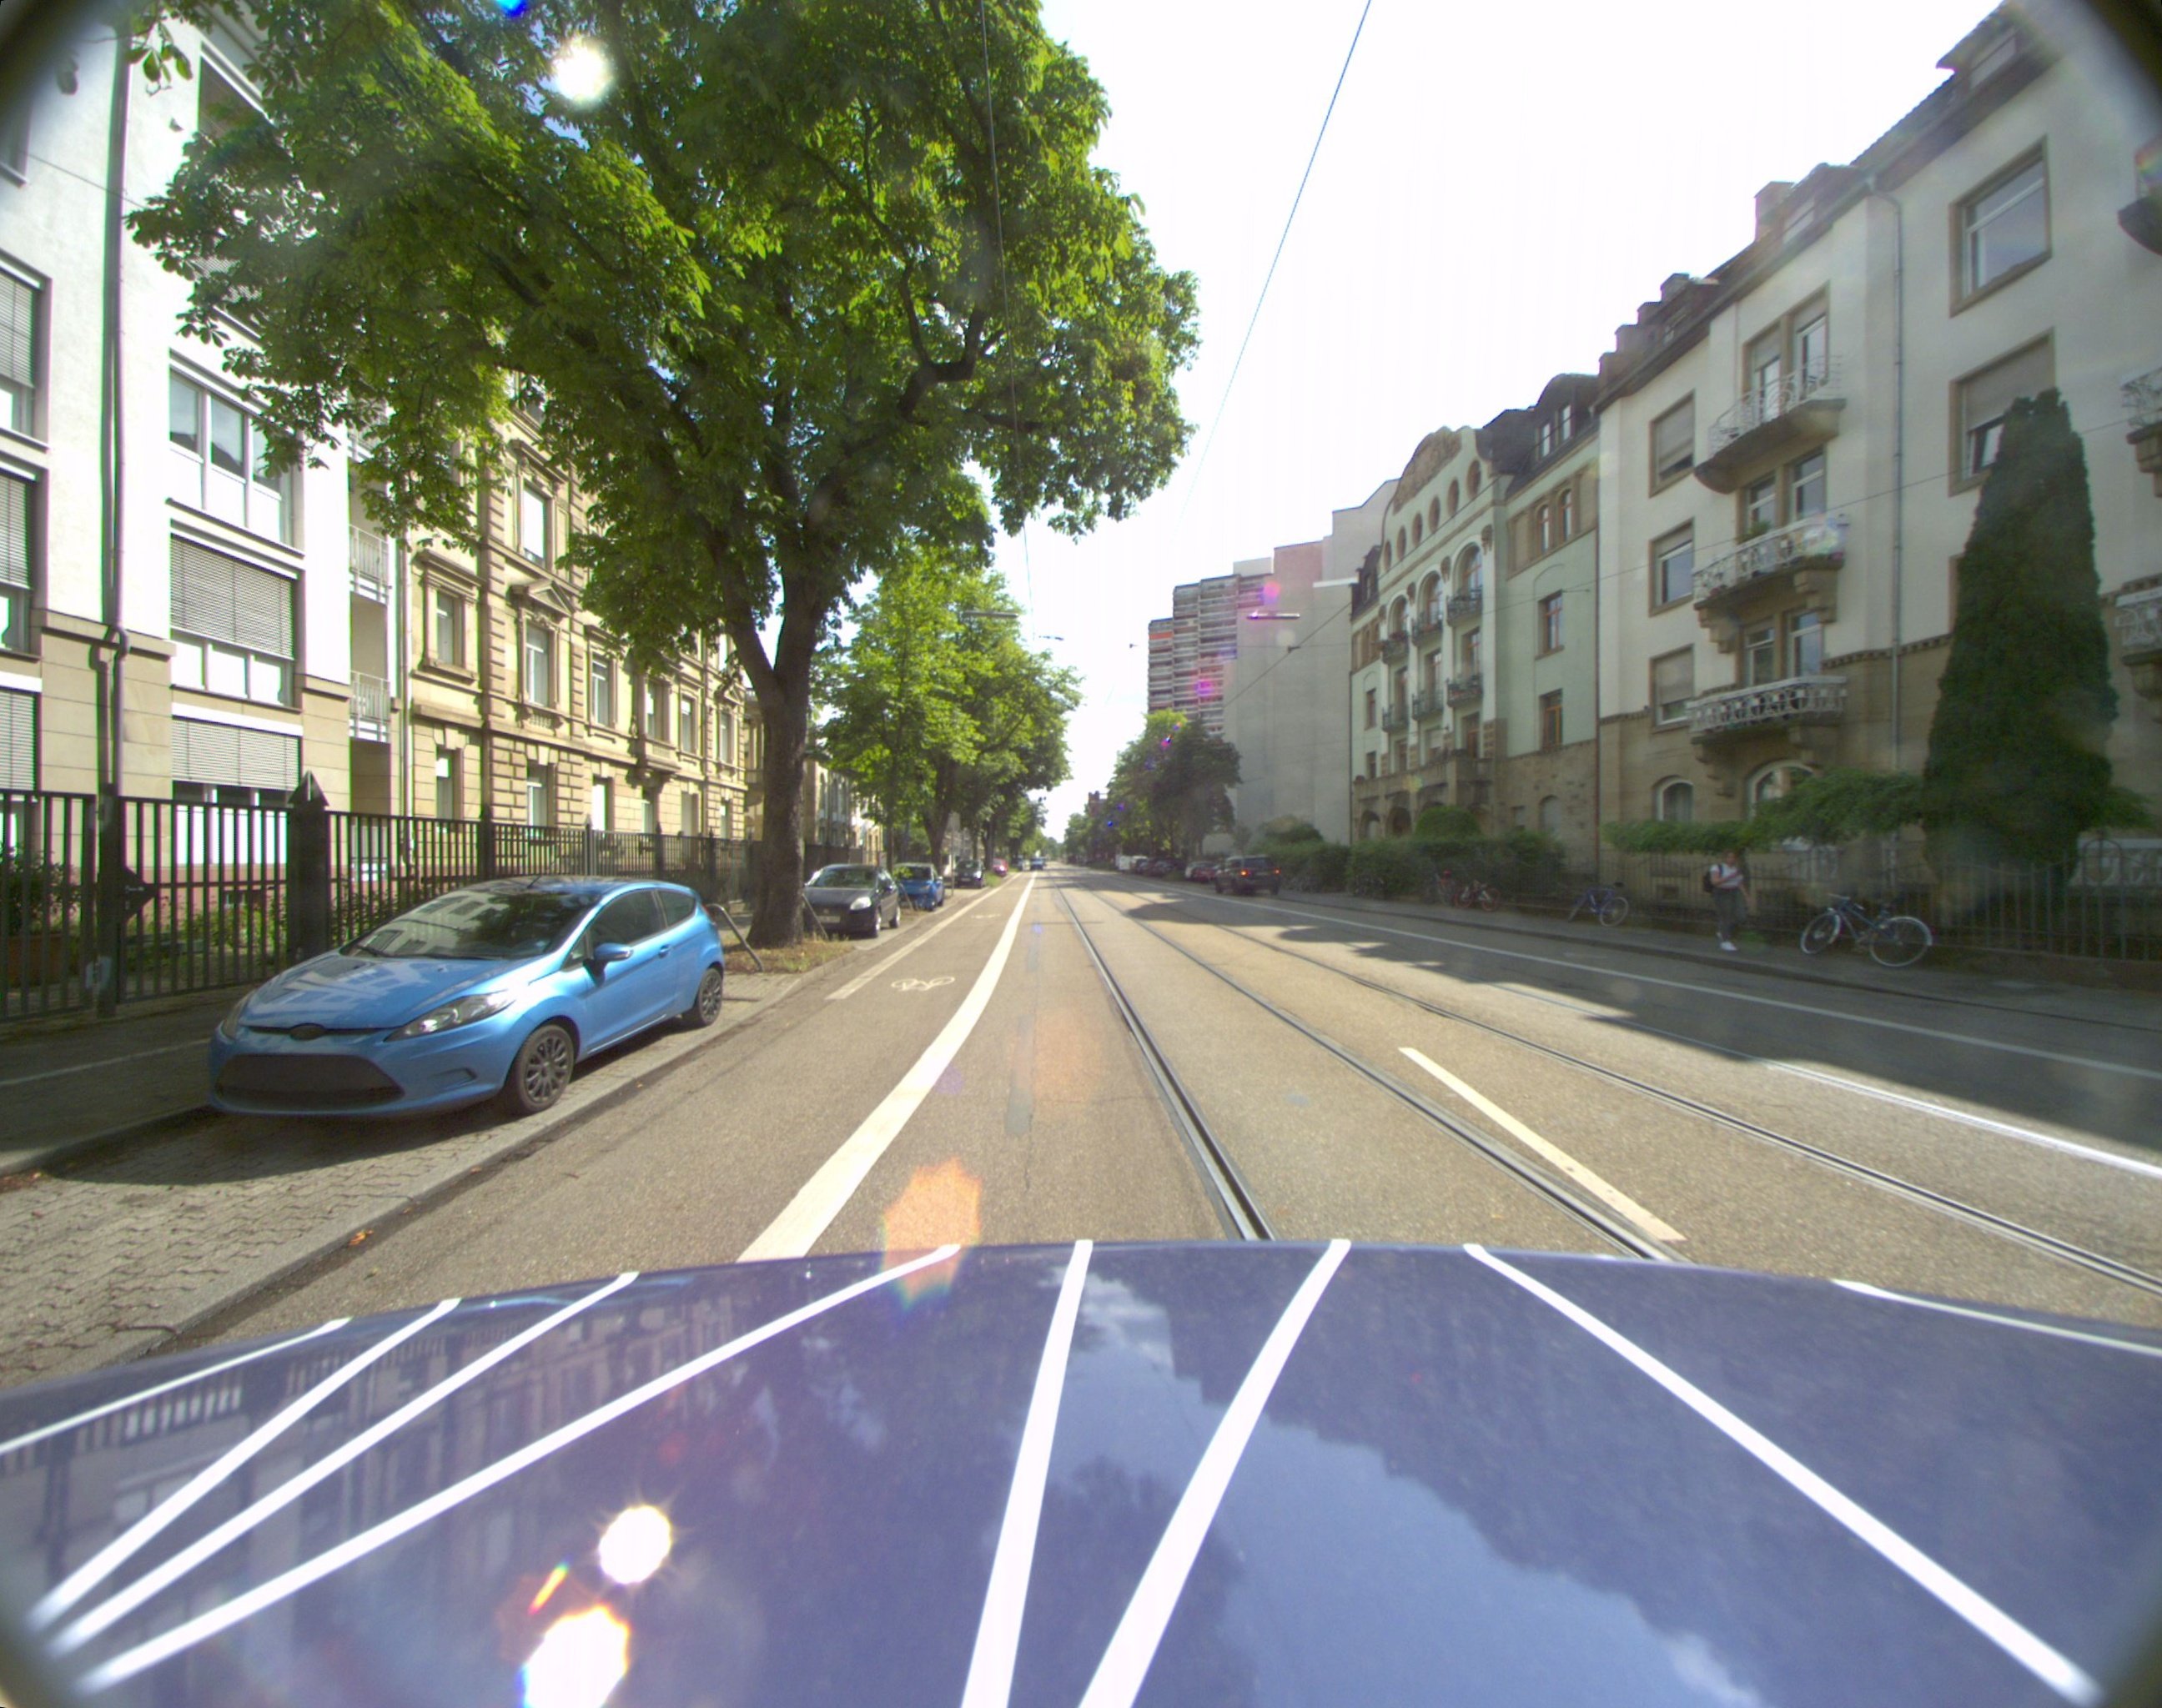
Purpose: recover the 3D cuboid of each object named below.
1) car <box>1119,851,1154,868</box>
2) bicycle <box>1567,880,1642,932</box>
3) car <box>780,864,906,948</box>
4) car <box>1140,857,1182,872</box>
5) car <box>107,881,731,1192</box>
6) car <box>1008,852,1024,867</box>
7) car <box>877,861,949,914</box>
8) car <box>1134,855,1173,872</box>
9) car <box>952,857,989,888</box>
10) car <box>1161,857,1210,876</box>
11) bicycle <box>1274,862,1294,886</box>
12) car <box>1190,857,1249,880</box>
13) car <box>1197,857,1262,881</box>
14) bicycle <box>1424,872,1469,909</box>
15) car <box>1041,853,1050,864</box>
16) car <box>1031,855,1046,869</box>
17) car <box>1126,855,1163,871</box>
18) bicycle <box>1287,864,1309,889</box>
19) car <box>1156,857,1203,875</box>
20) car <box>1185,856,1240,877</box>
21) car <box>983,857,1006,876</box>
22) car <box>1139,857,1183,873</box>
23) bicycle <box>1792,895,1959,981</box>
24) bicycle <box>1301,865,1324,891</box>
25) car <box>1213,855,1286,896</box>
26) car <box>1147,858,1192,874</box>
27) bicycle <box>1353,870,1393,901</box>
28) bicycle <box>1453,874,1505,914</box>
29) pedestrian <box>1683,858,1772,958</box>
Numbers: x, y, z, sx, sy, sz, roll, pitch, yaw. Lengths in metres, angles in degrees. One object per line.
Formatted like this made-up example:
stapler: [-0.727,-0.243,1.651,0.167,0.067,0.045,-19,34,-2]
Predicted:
car: [6.529,0.627,88.868,1.994,1.740,4.008,-1,1,41]
bicycle: [10.967,1.063,15.971,0.467,0.990,1.787,0,0,5]
car: [-4.900,1.000,16.130,1.679,1.467,3.659,2,0,-4]
car: [7.929,1.054,75.132,3.994,1.499,2.001,0,0,8]
car: [-4.317,1.034,5.830,1.647,1.467,3.660,2,0,-3]
car: [-7.716,0.639,90.557,1.744,1.564,3.928,2,0,-4]
car: [-5.297,1.026,24.345,1.679,1.467,3.659,2,0,-4]
car: [7.517,0.976,78.606,3.994,1.672,2.001,0,0,8]
car: [-6.174,1.015,42.923,1.744,1.564,3.659,2,0,-4]
car: [8.584,1.020,62.486,3.994,1.499,2.001,0,0,8]
bicycle: [10.021,0.985,37.593,0.468,1.128,1.787,0,0,-1]
car: [9.578,0.993,52.888,3.994,1.499,2.001,0,0,8]
car: [9.607,0.981,49.380,3.994,1.499,2.001,0,0,8]
bicycle: [10.723,1.051,22.355,0.468,0.990,1.787,0,0,-1]
car: [-8.306,1.069,178.964,2.146,2.568,4.817,0,0,-2]
car: [-6.071,1.103,109.130,1.974,1.901,4.817,0,0,-2]
car: [6.941,0.961,83.033,3.994,1.672,2.001,0,0,8]
bicycle: [10.119,1.028,35.496,0.468,1.128,1.787,0,0,-1]
car: [8.492,1.036,65.642,3.994,1.499,2.001,0,0,8]
car: [9.718,0.913,56.436,3.994,1.499,2.001,0,0,8]
car: [-7.460,1.075,65.884,1.744,1.564,3.928,2,0,-4]
car: [7.597,1.054,71.972,3.994,1.499,2.001,0,0,8]
bicycle: [11.107,1.132,10.727,0.467,0.990,1.979,0,0,7]
bicycle: [10.198,1.047,33.553,0.468,1.128,1.787,0,0,-1]
car: [7.295,0.883,33.418,1.922,1.685,4.400,0,0,-5]
car: [7.997,1.077,68.762,3.994,1.499,2.001,0,0,8]
bicycle: [10.141,1.088,26.443,0.605,0.990,1.981,0,0,-1]
bicycle: [10.682,1.055,20.456,0.468,0.990,1.787,0,0,-1]
pedestrian: [10.278,0.840,12.102,0.759,1.532,0.765,0,0,-2]
